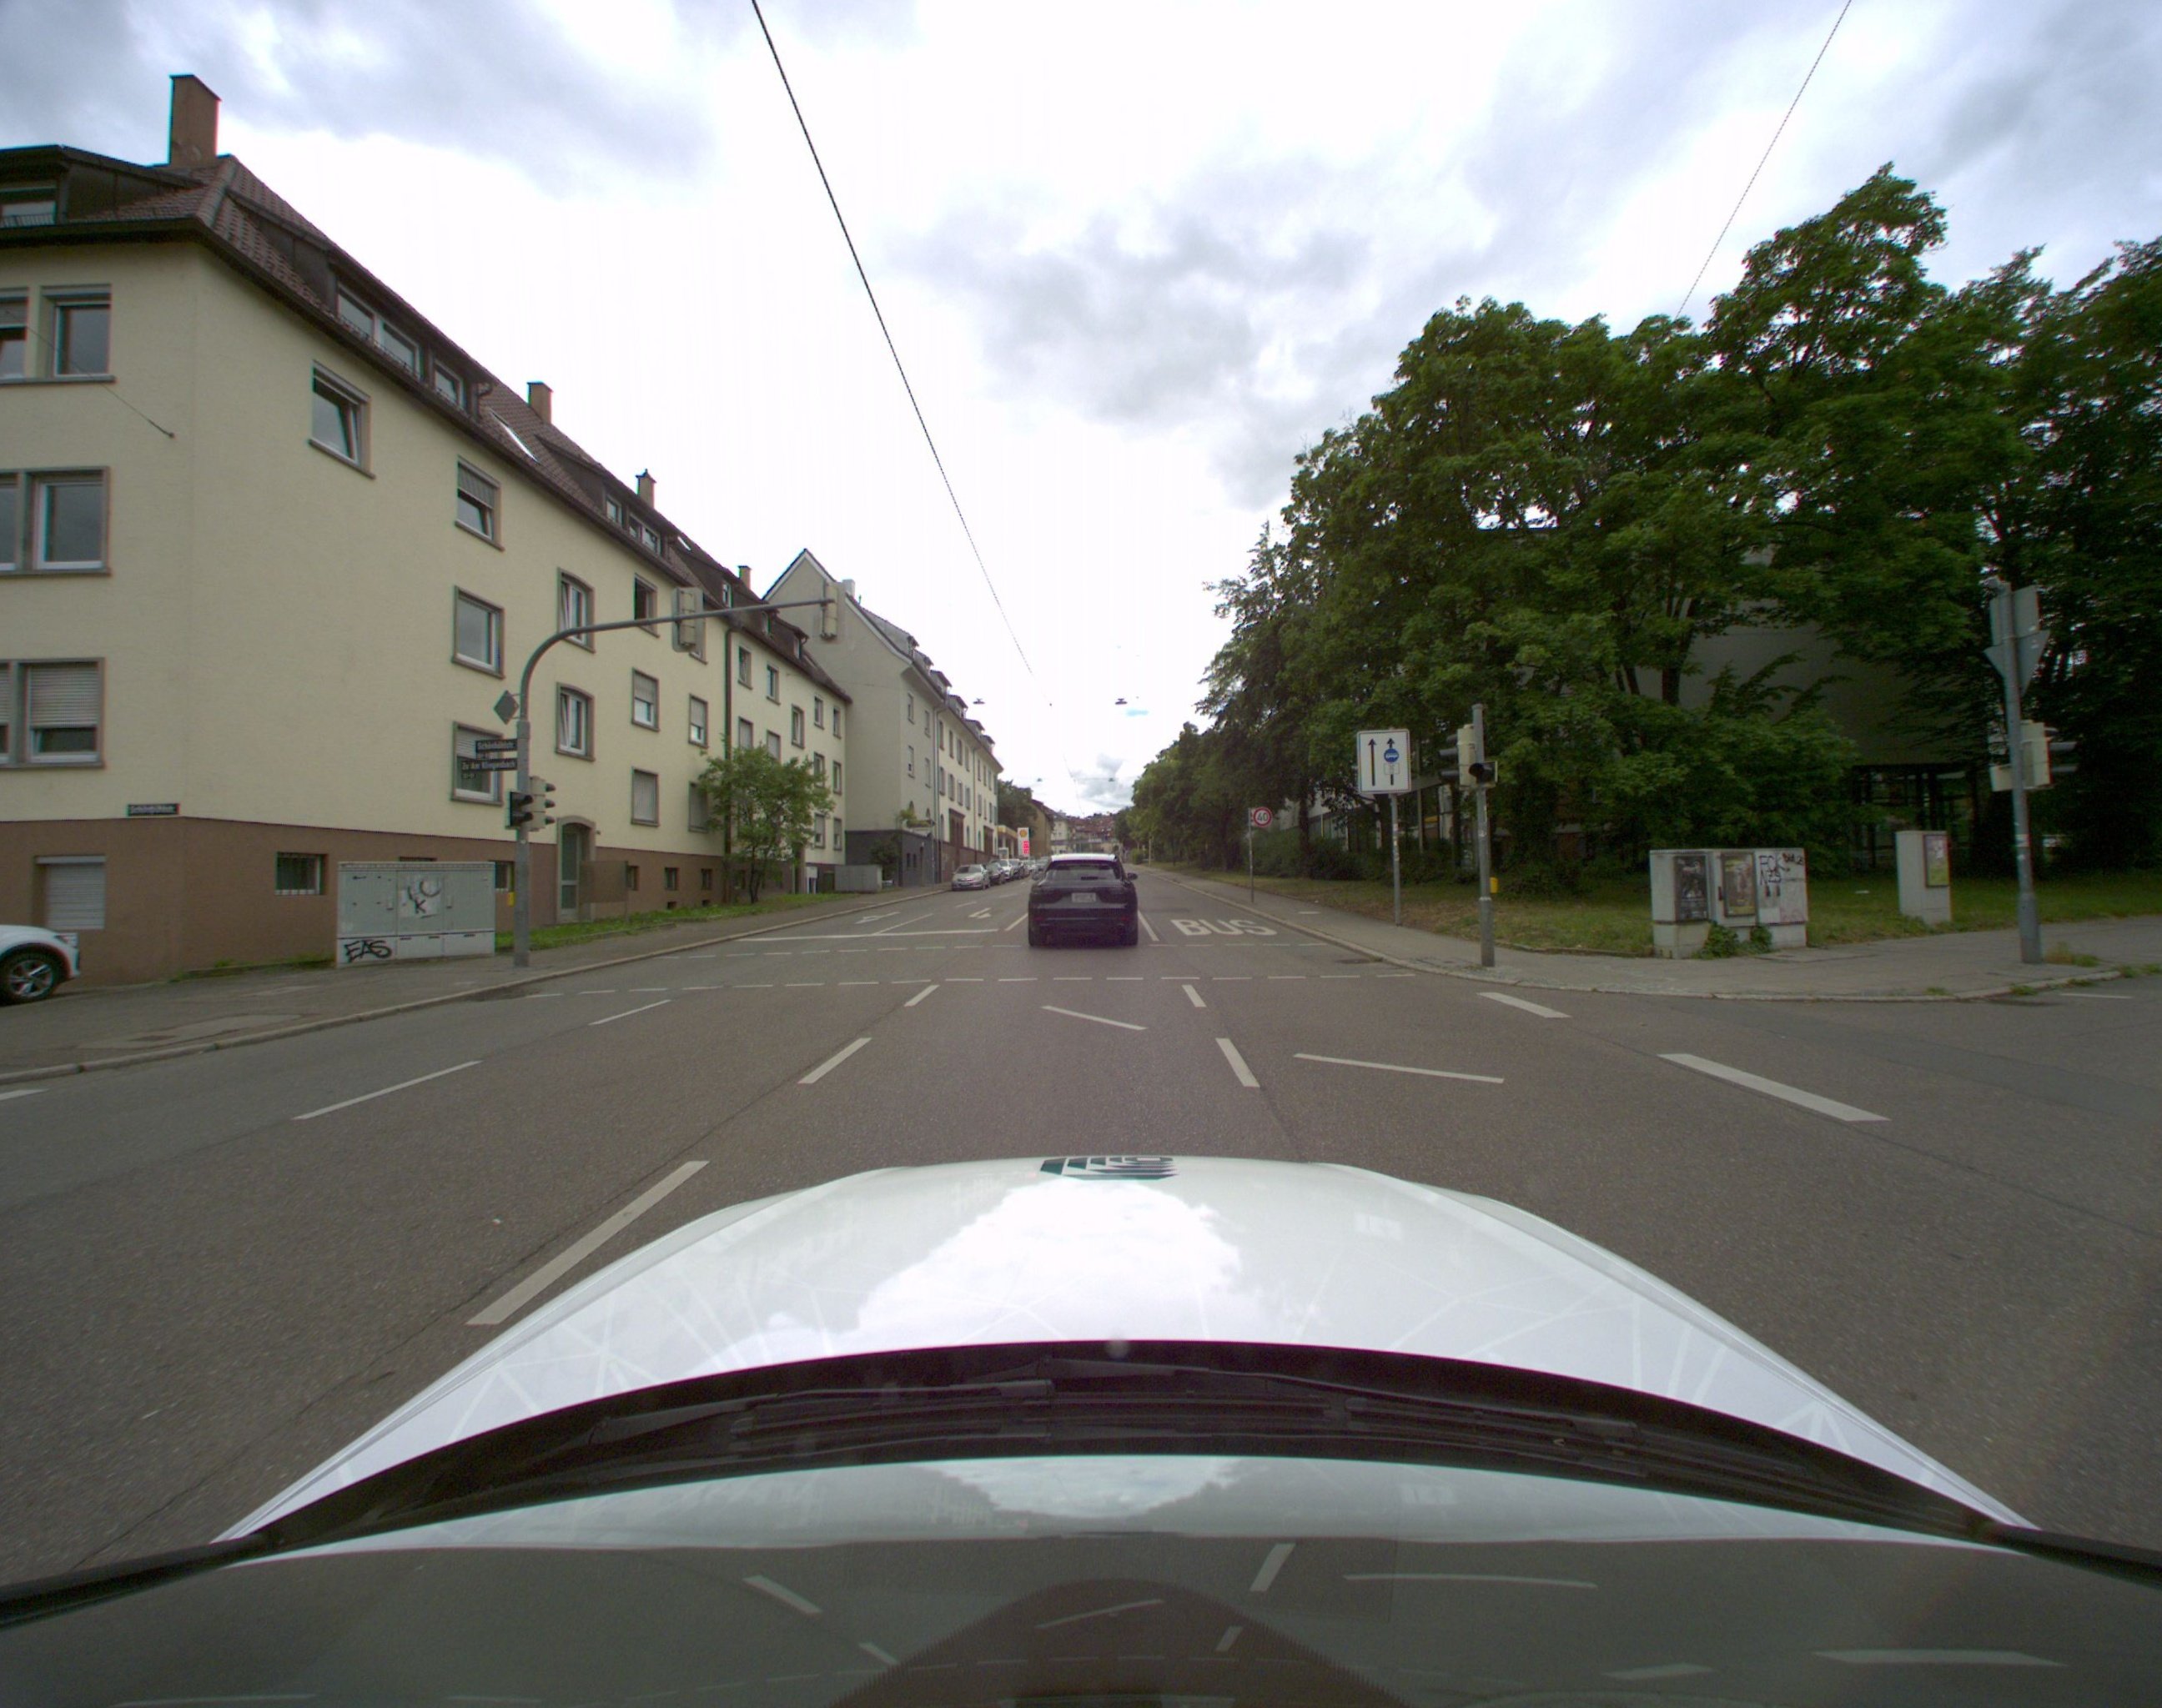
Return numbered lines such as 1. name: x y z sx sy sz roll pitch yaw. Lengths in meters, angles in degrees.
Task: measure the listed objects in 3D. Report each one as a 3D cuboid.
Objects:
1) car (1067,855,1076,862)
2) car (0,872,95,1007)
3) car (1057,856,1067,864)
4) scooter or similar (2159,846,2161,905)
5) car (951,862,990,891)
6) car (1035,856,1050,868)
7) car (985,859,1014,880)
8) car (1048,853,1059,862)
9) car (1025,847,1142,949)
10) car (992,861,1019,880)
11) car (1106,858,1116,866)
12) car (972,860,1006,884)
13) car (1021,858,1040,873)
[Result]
1. car: -2.137 1.045 179.859 1.663 1.362 4.002 -1 1 2
2. car: -14.385 1.154 9.165 1.666 1.661 3.996 -4 1 -3
3. car: -3.440 1.008 148.633 1.664 1.362 4.000 -1 1 0
4. scooter or similar: 22.488 0.426 16.272 1.765 1.177 0.528 0 1 -15
5. car: -6.036 1.208 44.863 1.665 1.362 3.998 -1 1 -1
6. car: -4.802 0.940 100.945 1.664 1.362 4.000 -1 1 0
7. car: -5.797 1.071 58.281 1.664 1.362 4.000 -1 1 0
8. car: -4.312 0.564 127.406 1.664 1.362 4.000 -1 1 0
9. car: 0.105 0.732 15.830 1.986 1.696 4.002 0 1 2
10. car: -5.856 1.272 63.406 1.664 1.362 4.000 -1 1 0
11. car: 5.529 1.458 148.899 1.664 1.362 4.000 -1 1 0
12. car: -5.874 1.150 52.353 1.664 1.362 4.000 -1 1 0
13. car: -5.175 1.189 83.268 1.664 1.362 4.000 -1 1 0
